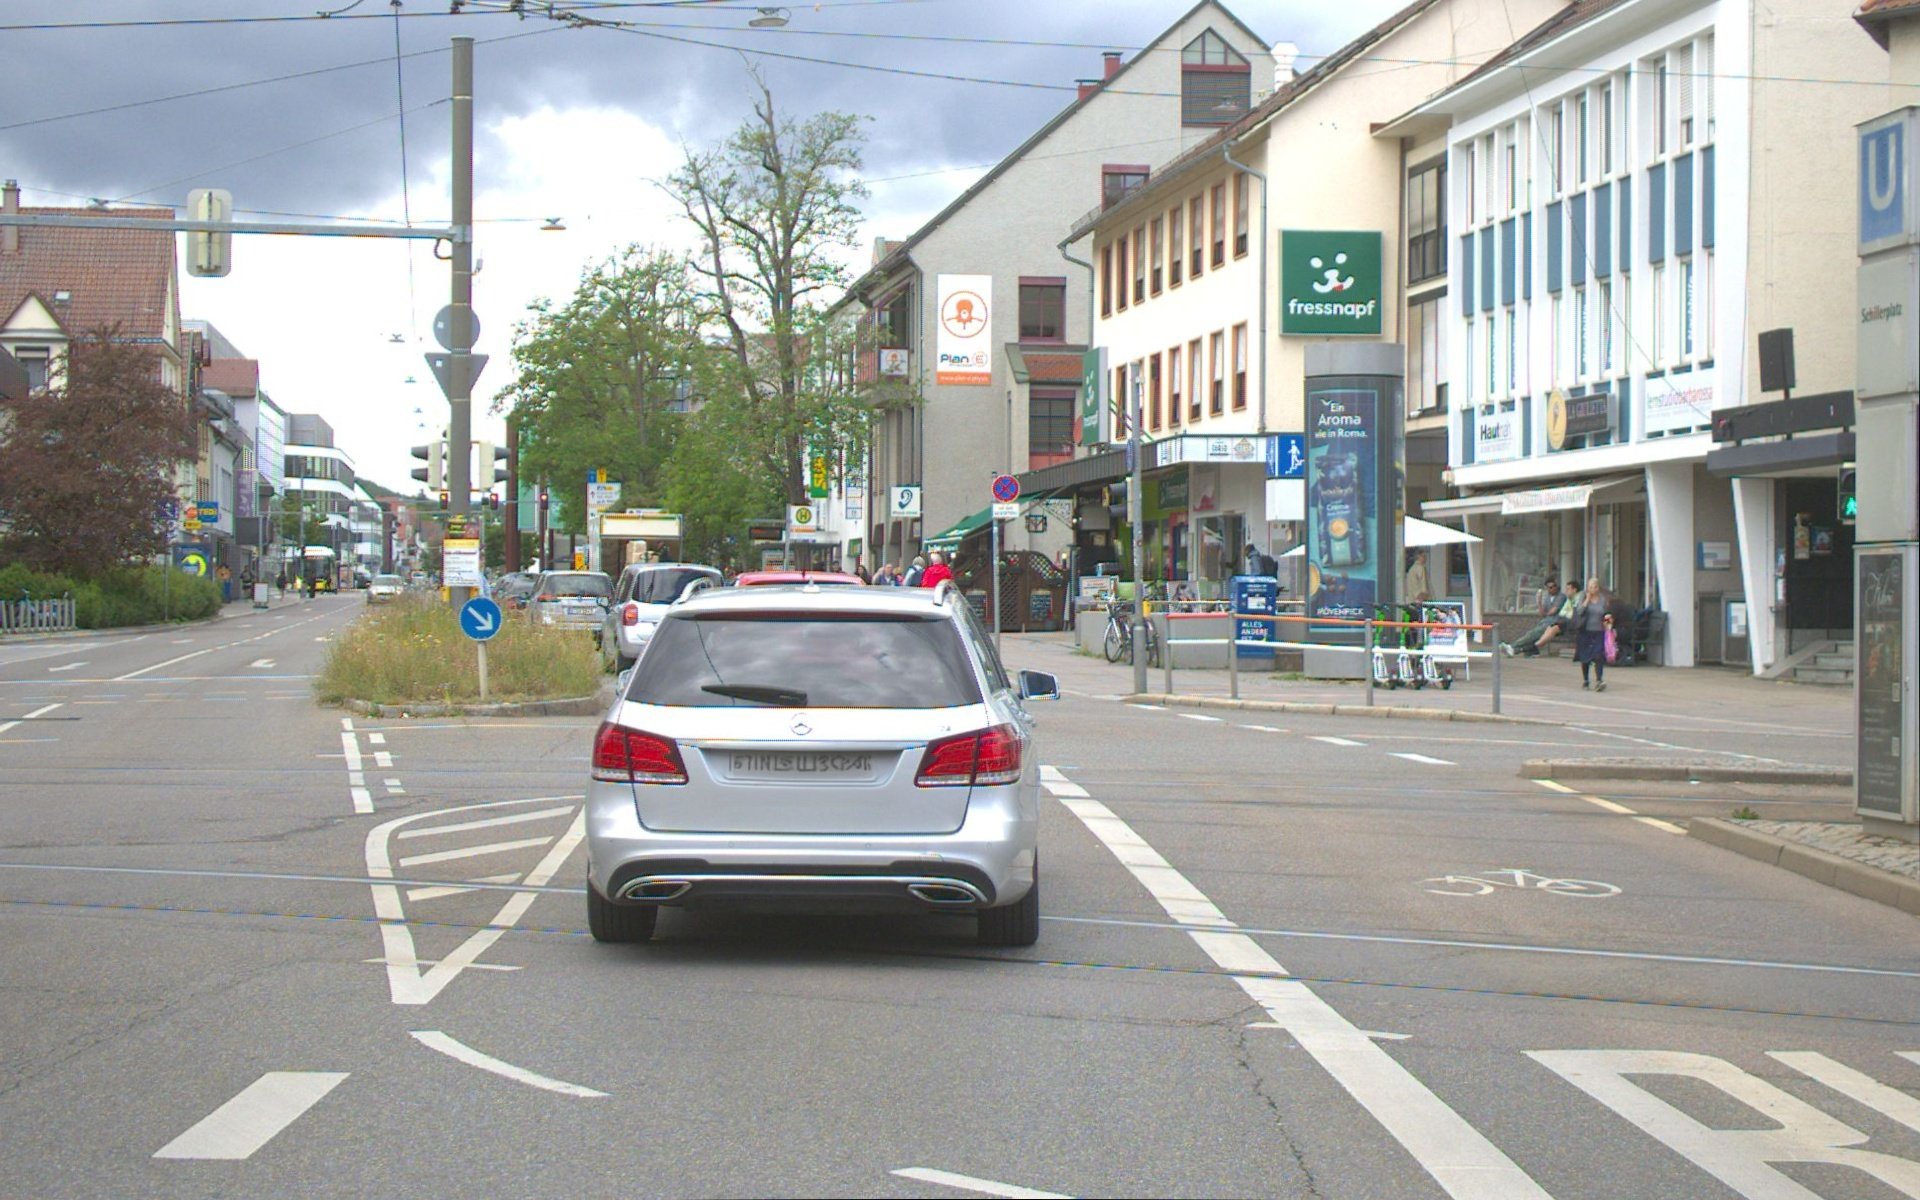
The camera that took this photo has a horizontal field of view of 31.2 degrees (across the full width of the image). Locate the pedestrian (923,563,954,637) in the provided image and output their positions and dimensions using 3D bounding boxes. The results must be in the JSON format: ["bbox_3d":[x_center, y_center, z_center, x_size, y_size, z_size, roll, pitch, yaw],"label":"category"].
[{"bbox_3d":[-0.424,-0.006,68.708,0.578,1.464,0.651,1,0,1],"label":"pedestrian"}]

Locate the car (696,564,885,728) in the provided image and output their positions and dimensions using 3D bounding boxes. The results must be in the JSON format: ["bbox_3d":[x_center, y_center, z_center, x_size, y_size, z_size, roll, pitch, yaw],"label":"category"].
[{"bbox_3d":[-1.648,0.403,33.693,1.734,1.503,4.000,0,1,-2],"label":"car"}]

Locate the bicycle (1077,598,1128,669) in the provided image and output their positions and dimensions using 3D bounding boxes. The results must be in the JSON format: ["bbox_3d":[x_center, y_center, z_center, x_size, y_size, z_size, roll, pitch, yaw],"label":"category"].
[{"bbox_3d":[2.259,0.520,54.673,0.448,1.087,2.149,0,0,-7],"label":"bicycle"}]

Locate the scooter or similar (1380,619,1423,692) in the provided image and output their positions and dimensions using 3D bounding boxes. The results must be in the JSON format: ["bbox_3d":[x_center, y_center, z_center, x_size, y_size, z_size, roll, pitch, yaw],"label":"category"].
[{"bbox_3d":[6.155,0.763,47.921,0.271,0.998,1.029,0,0,-12],"label":"scooter or similar"}]

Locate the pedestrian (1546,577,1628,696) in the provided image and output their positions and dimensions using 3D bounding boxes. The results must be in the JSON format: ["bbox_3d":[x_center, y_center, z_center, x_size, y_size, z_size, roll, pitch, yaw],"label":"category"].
[{"bbox_3d":[8.511,0.496,46.678,0.640,1.586,0.898,1,0,-28],"label":"pedestrian"}]

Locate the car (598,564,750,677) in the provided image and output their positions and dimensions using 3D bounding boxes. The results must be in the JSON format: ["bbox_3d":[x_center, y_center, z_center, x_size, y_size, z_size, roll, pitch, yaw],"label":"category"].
[{"bbox_3d":[-4.019,0.259,47.833,1.734,1.503,4.001,0,0,-10],"label":"car"}]

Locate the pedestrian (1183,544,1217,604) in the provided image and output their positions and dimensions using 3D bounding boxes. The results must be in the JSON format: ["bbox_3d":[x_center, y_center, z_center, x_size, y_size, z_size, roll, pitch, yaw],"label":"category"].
[{"bbox_3d":[4.928,-0.528,70.642,0.533,1.214,0.580,1,0,-11],"label":"pedestrian"}]

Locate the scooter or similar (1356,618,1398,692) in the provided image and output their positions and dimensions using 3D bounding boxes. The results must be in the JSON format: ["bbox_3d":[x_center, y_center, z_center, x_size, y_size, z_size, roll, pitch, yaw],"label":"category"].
[{"bbox_3d":[5.799,0.761,47.833,0.271,0.998,1.029,0,0,-12],"label":"scooter or similar"}]

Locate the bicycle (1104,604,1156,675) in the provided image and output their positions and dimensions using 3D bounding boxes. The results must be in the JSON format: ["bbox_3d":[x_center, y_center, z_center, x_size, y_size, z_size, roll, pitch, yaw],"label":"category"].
[{"bbox_3d":[2.704,0.620,54.734,0.448,1.103,2.149,0,0,-7],"label":"bicycle"}]

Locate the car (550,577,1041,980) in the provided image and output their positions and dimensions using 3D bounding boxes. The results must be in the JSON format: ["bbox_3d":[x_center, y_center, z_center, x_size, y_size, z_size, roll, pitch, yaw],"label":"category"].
[{"bbox_3d":[-0.579,0.656,14.995,1.846,1.503,4.171,0,0,1],"label":"car"}]

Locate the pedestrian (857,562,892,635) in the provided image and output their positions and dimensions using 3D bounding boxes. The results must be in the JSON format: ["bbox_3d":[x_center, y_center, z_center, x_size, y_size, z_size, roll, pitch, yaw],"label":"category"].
[{"bbox_3d":[-1.702,-0.025,68.267,0.577,1.430,0.651,1,0,-9],"label":"pedestrian"}]

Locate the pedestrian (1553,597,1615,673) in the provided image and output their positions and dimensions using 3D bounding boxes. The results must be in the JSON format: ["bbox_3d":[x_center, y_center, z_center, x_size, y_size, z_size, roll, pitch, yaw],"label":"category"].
[{"bbox_3d":[9.629,0.536,53.066,0.736,1.160,0.643,1,0,-11],"label":"pedestrian"}]

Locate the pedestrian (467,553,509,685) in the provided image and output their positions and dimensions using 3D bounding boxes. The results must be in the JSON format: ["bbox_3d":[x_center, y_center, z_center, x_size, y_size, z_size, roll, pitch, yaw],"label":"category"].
[{"bbox_3d":[-6.349,0.256,46.222,0.533,1.757,0.580,0,0,-10],"label":"pedestrian"}]

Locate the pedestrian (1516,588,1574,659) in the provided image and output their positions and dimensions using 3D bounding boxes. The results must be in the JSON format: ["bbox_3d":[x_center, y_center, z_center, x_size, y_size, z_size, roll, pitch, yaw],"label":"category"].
[{"bbox_3d":[9.639,0.387,56.681,0.736,1.160,0.643,1,0,-11],"label":"pedestrian"}]

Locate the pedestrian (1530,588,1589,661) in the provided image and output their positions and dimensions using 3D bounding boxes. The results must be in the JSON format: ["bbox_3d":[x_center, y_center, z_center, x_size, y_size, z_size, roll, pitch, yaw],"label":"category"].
[{"bbox_3d":[9.769,0.401,56.034,0.736,1.160,0.643,1,0,-11],"label":"pedestrian"}]

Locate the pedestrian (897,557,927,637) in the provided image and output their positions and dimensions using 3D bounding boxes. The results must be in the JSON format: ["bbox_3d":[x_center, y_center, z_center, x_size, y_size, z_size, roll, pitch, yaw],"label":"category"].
[{"bbox_3d":[-1.021,-0.056,72.331,0.578,1.661,0.651,1,0,-2],"label":"pedestrian"}]

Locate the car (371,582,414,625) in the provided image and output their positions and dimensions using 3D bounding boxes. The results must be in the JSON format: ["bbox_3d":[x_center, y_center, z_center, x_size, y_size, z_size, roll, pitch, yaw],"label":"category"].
[{"bbox_3d":[-27.258,0.154,165.077,1.993,2.007,4.001,1,0,-10],"label":"car"}]

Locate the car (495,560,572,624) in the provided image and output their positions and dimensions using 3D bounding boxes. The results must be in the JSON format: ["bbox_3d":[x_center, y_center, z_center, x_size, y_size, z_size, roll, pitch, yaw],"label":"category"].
[{"bbox_3d":[-11.954,-0.233,96.194,1.993,1.744,4.001,1,0,-9],"label":"car"}]

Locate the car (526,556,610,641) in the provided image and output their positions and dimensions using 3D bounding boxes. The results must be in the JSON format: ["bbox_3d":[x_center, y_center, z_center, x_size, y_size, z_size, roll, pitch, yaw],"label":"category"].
[{"bbox_3d":[-8.299,-0.051,72.610,1.734,1.753,4.001,0,0,-7],"label":"car"}]

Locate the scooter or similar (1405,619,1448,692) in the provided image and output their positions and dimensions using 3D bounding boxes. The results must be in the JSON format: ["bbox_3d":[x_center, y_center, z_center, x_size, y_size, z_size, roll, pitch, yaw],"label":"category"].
[{"bbox_3d":[6.512,0.768,48.001,0.271,0.998,1.029,0,0,-12],"label":"scooter or similar"}]
